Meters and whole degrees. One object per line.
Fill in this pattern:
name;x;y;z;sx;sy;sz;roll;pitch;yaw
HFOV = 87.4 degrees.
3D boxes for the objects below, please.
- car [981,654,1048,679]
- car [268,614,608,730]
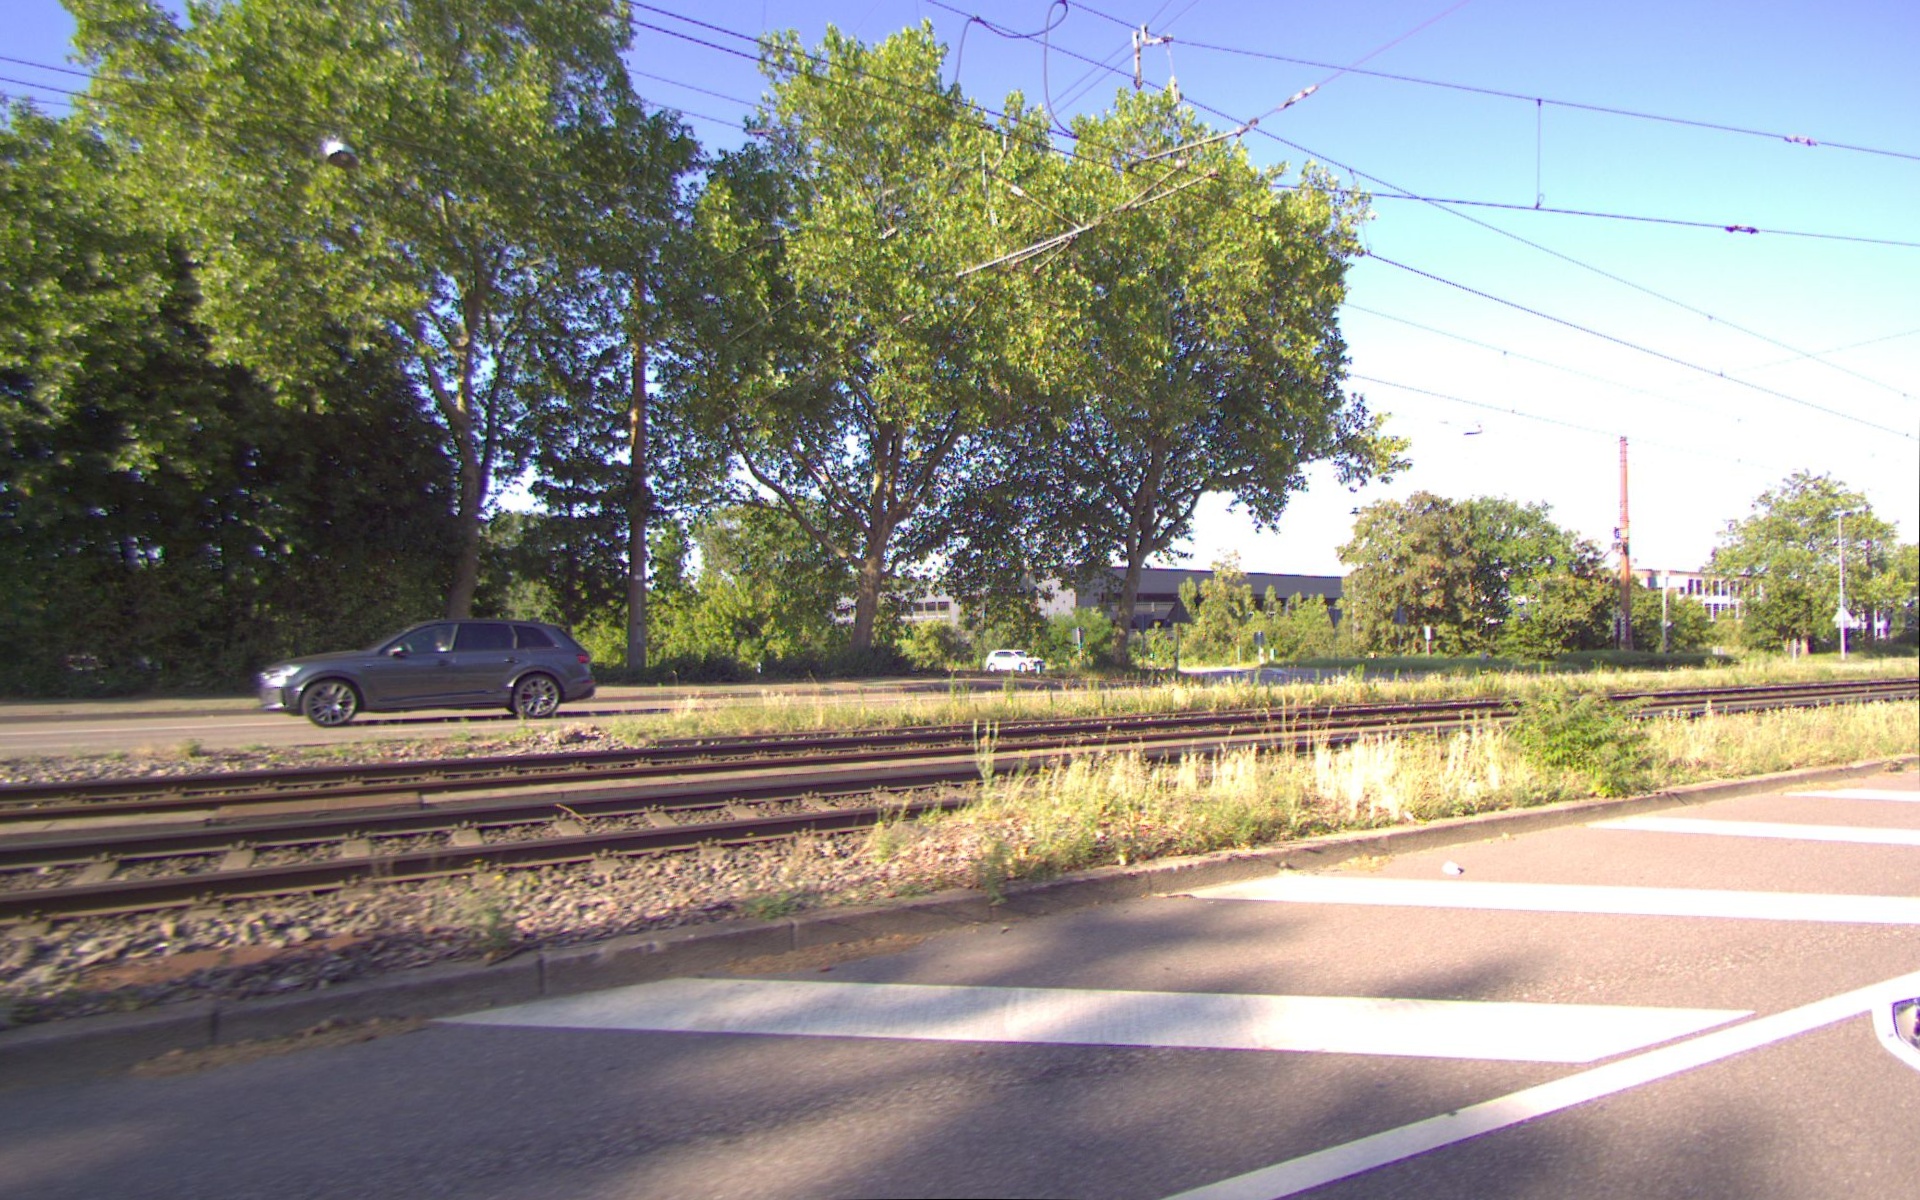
car;3.570;4.350;65.946;4.208;1.545;1.652;-1;-4;39
car;-8.716;1.170;17.048;4.888;1.716;1.888;2;-4;-33
